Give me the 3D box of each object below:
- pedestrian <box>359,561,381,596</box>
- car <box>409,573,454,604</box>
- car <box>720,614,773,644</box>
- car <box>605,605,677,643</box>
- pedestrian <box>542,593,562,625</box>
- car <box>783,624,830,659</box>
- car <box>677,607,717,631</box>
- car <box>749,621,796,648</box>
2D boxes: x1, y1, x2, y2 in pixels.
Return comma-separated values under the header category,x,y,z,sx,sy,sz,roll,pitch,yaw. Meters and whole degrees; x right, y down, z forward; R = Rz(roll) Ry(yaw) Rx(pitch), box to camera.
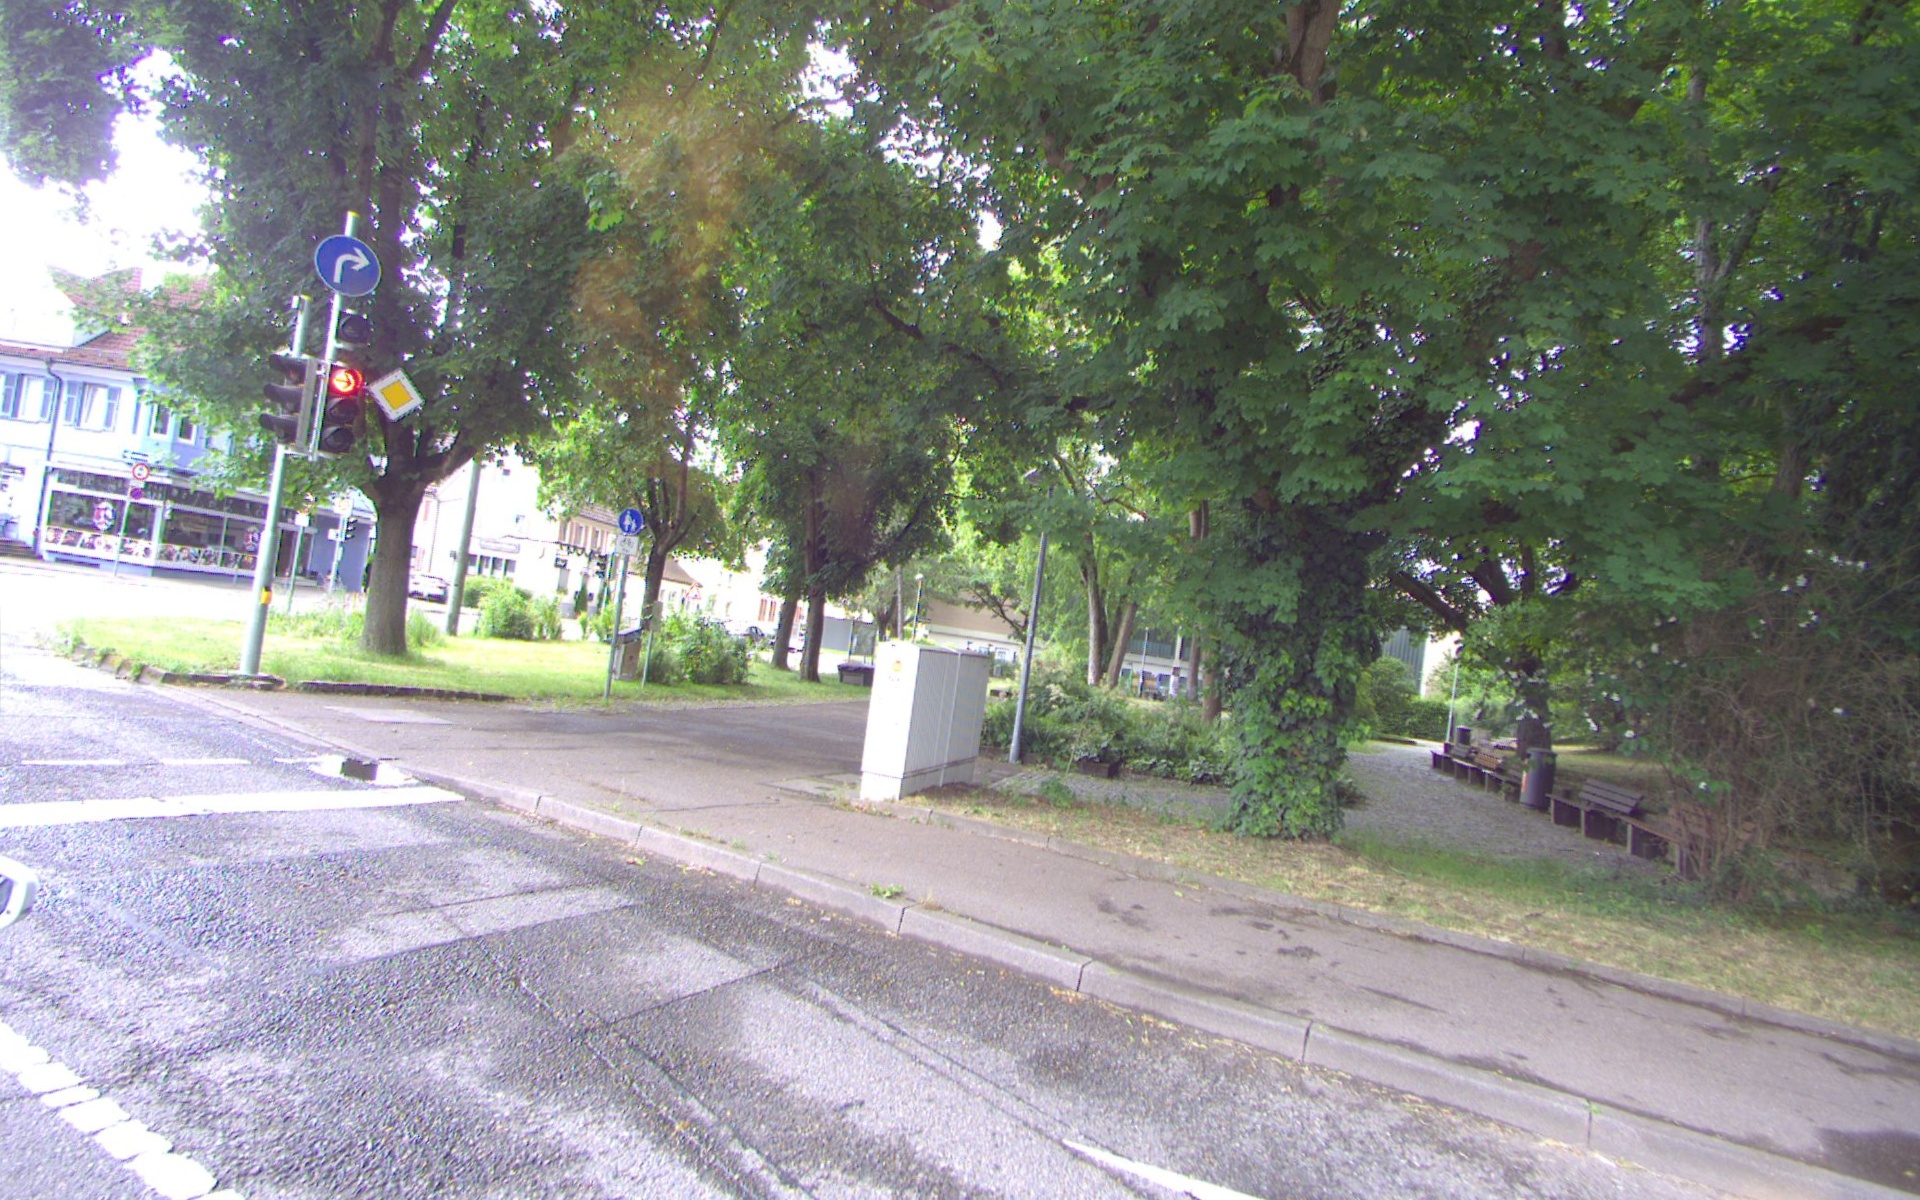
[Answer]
category,x,y,z,sx,sy,sz,roll,pitch,yaw
pedestrian,-27.413,-1.003,46.740,0.576,1.535,0.460,7,-1,12
car,-27.873,-0.604,53.146,1.479,1.384,3.166,8,-2,-19
car,-11.571,1.595,54.824,1.530,1.336,3.514,7,-2,9
car,-14.012,1.088,44.359,1.530,1.336,3.514,7,-2,9
pedestrian,-22.119,0.503,54.498,0.600,1.668,0.610,7,-1,3
car,-10.059,2.756,66.177,1.750,2.037,4.005,7,-2,7
car,-19.373,1.440,74.251,1.528,1.436,4.005,7,-2,4
car,-11.170,2.068,60.108,1.530,1.336,3.514,7,-2,8
